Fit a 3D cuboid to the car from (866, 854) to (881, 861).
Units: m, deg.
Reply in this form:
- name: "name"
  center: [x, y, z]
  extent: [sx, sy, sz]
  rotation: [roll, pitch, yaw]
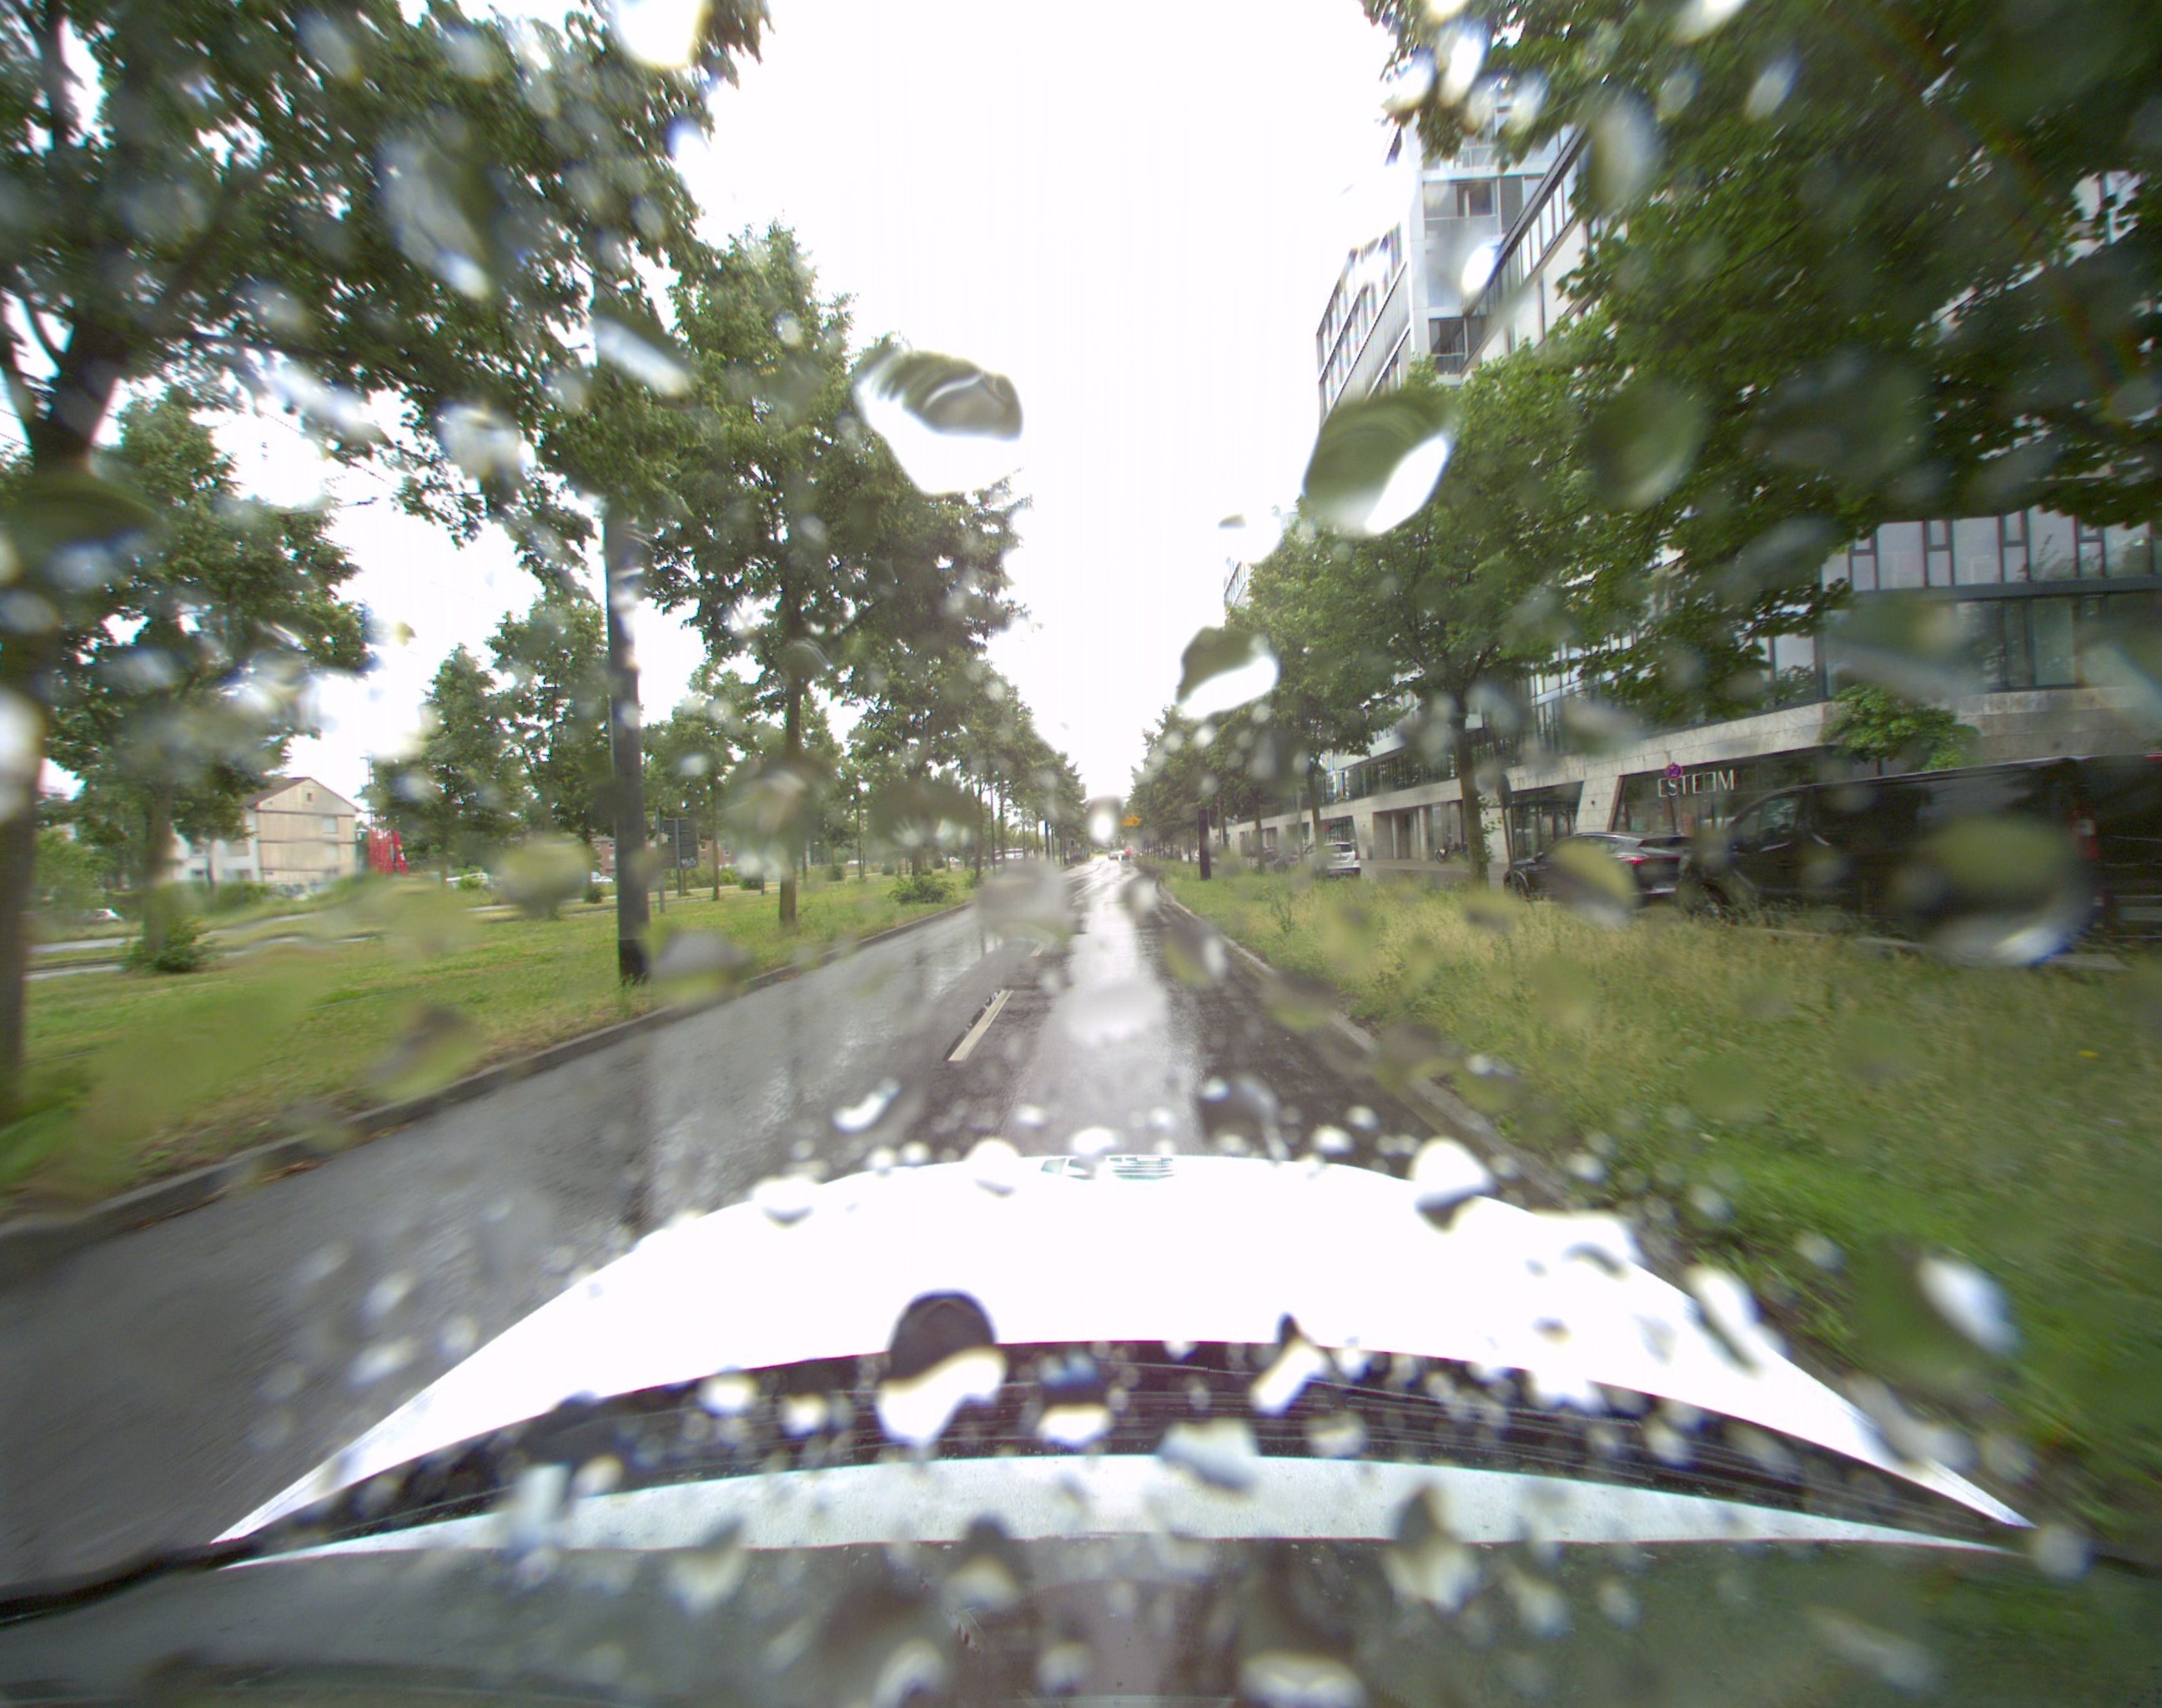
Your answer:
- name: "car"
  center: [-54.542, 0.949, 213.639]
  extent: [3.546, 1.738, 1.694]
  rotation: [-4, 2, -22]

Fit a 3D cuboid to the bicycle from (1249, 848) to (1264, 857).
- name: "bicycle"
  center: [22.345, -0.213, 103.657]
  extent: [1.798, 1.028, 0.402]
  rotation: [-2, -1, 4]

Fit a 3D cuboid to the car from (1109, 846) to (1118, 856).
- name: "car"
  center: [7.101, -0.677, 178.234]
  extent: [1.881, 2.013, 4.003]
  rotation: [-3, 2, 2]

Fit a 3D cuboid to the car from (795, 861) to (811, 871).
- name: "car"
  center: [-62.624, 2.688, 183.344]
  extent: [1.986, 2.013, 4.002]
  rotation: [-3, 2, 2]

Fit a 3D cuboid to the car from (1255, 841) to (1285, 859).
- name: "car"
  center: [18.539, -0.412, 80.105]
  extent: [1.985, 1.501, 5.040]
  rotation: [-7, 1, 4]

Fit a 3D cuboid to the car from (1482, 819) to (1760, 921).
- name: "car"
  center: [9.695, 0.252, 15.165]
  extent: [1.953, 1.513, 4.475]
  rotation: [-3, 0, -4]

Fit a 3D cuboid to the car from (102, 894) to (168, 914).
- name: "car"
  center: [-67.823, 3.547, 58.452]
  extent: [1.223, 1.108, 2.815]
  rotation: [-2, 2, 7]

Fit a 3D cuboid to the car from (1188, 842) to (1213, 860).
- name: "car"
  center: [11.623, -0.358, 79.284]
  extent: [1.874, 1.505, 4.727]
  rotation: [-3, 2, 2]

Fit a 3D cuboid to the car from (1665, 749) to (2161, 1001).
- name: "car"
  center: [9.084, 0.028, 8.856]
  extent: [1.986, 1.952, 5.033]
  rotation: [-3, 2, 2]

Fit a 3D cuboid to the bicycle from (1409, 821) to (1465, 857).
- name: "bicycle"
  center: [19.530, -0.806, 44.733]
  extent: [2.666, 1.860, 0.708]
  rotation: [-3, 0, 6]

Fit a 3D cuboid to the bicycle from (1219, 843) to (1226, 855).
- name: "bicycle"
  center: [22.366, -0.756, 128.791]
  extent: [0.642, 1.722, 3.122]
  rotation: [-3, 2, 2]

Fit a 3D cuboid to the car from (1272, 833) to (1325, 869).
- name: "car"
  center: [10.182, -0.186, 38.411]
  extent: [1.619, 1.490, 3.658]
  rotation: [-3, 2, 2]

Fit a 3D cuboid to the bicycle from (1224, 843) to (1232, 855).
- name: "bicycle"
  center: [23.125, -0.760, 128.049]
  extent: [0.769, 1.722, 3.122]
  rotation: [-3, 2, 2]

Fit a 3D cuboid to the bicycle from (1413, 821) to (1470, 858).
- name: "bicycle"
  center: [19.436, -0.797, 43.990]
  extent: [2.666, 1.860, 0.708]
  rotation: [-3, 0, 6]

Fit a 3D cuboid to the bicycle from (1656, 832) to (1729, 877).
- name: "bicycle"
  center: [16.397, 0.000, 21.890]
  extent: [0.516, 1.130, 2.067]
  rotation: [-2, 0, 4]

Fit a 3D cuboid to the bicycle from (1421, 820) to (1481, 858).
- name: "bicycle"
  center: [19.254, -0.766, 42.425]
  extent: [2.666, 1.860, 0.708]
  rotation: [-3, 0, 6]

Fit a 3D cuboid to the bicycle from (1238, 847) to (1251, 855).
- name: "bicycle"
  center: [22.162, -0.358, 110.377]
  extent: [1.686, 1.028, 0.423]
  rotation: [-2, -1, 4]

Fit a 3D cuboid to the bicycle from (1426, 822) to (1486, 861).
- name: "bicycle"
  center: [19.172, -0.622, 41.663]
  extent: [2.666, 1.860, 0.708]
  rotation: [-3, 0, 6]

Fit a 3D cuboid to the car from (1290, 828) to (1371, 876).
- name: "car"
  center: [10.134, -0.151, 33.479]
  extent: [1.986, 1.668, 4.727]
  rotation: [-3, 2, 2]

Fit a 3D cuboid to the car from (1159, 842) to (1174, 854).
- name: "car"
  center: [13.437, -0.931, 128.379]
  extent: [1.899, 1.791, 4.690]
  rotation: [-3, 0, 2]

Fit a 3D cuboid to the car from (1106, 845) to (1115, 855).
- name: "car"
  center: [7.210, -0.975, 199.862]
  extent: [1.984, 2.013, 4.006]
  rotation: [-2, 2, 4]

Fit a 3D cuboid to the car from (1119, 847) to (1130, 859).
- name: "car"
  center: [8.132, -0.262, 152.777]
  extent: [1.933, 2.013, 4.003]
  rotation: [-3, 2, 2]

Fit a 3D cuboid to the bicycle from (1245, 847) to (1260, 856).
- name: "bicycle"
  center: [22.173, -0.324, 105.502]
  extent: [1.798, 1.028, 0.541]
  rotation: [-2, -1, 4]

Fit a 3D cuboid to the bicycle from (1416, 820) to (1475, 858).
- name: "bicycle"
  center: [19.315, -0.786, 43.206]
  extent: [2.666, 1.860, 0.708]
  rotation: [-3, 0, 6]

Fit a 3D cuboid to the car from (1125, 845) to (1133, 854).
- name: "car"
  center: [12.513, -1.169, 212.140]
  extent: [1.985, 2.013, 4.005]
  rotation: [-2, 2, 3]
